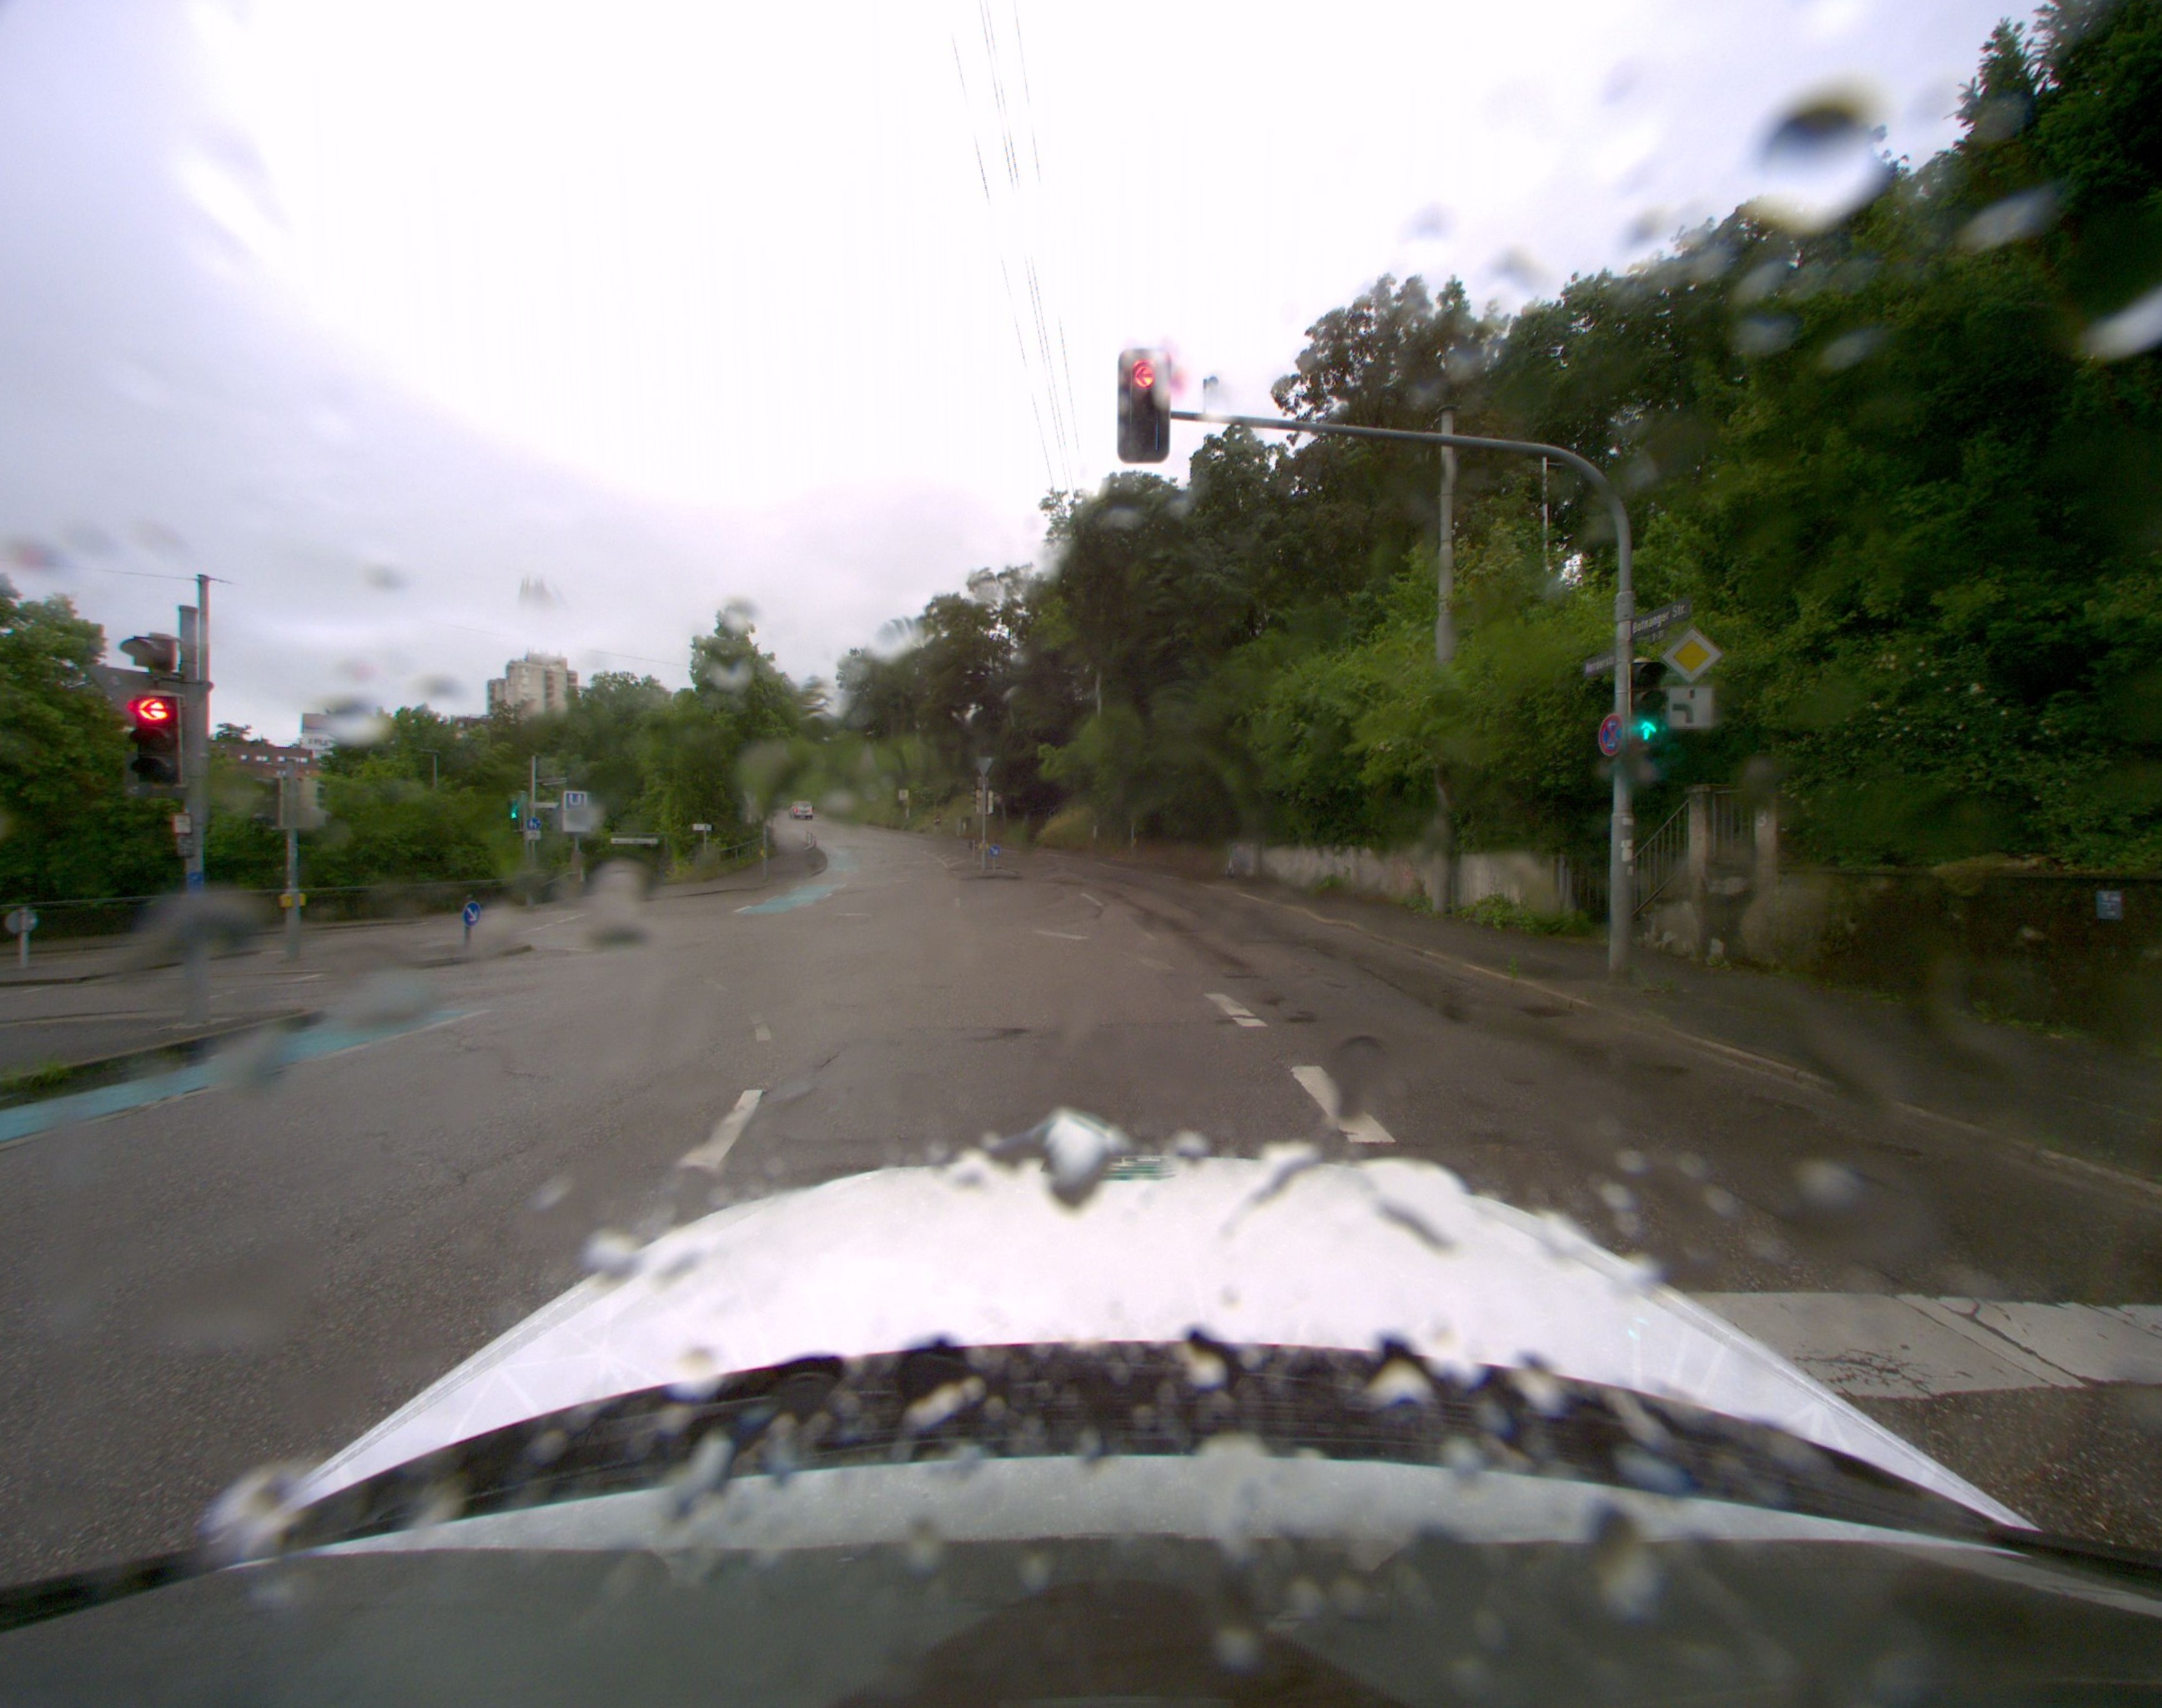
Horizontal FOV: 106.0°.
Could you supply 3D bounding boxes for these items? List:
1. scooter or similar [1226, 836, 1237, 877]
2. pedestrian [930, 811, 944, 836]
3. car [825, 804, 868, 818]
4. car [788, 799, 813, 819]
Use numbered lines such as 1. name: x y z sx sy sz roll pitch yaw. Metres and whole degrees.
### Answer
1. scooter or similar: 4.901 0.066 26.487 0.320 1.279 0.754 -1 2 10
2. pedestrian: -10.556 -2.228 59.653 0.882 1.736 0.861 0 -1 -15
3. car: -27.228 -4.955 94.465 4.357 1.511 1.971 1 3 15
4. car: -31.689 -5.023 91.808 2.077 2.006 4.774 -1 1 -26
